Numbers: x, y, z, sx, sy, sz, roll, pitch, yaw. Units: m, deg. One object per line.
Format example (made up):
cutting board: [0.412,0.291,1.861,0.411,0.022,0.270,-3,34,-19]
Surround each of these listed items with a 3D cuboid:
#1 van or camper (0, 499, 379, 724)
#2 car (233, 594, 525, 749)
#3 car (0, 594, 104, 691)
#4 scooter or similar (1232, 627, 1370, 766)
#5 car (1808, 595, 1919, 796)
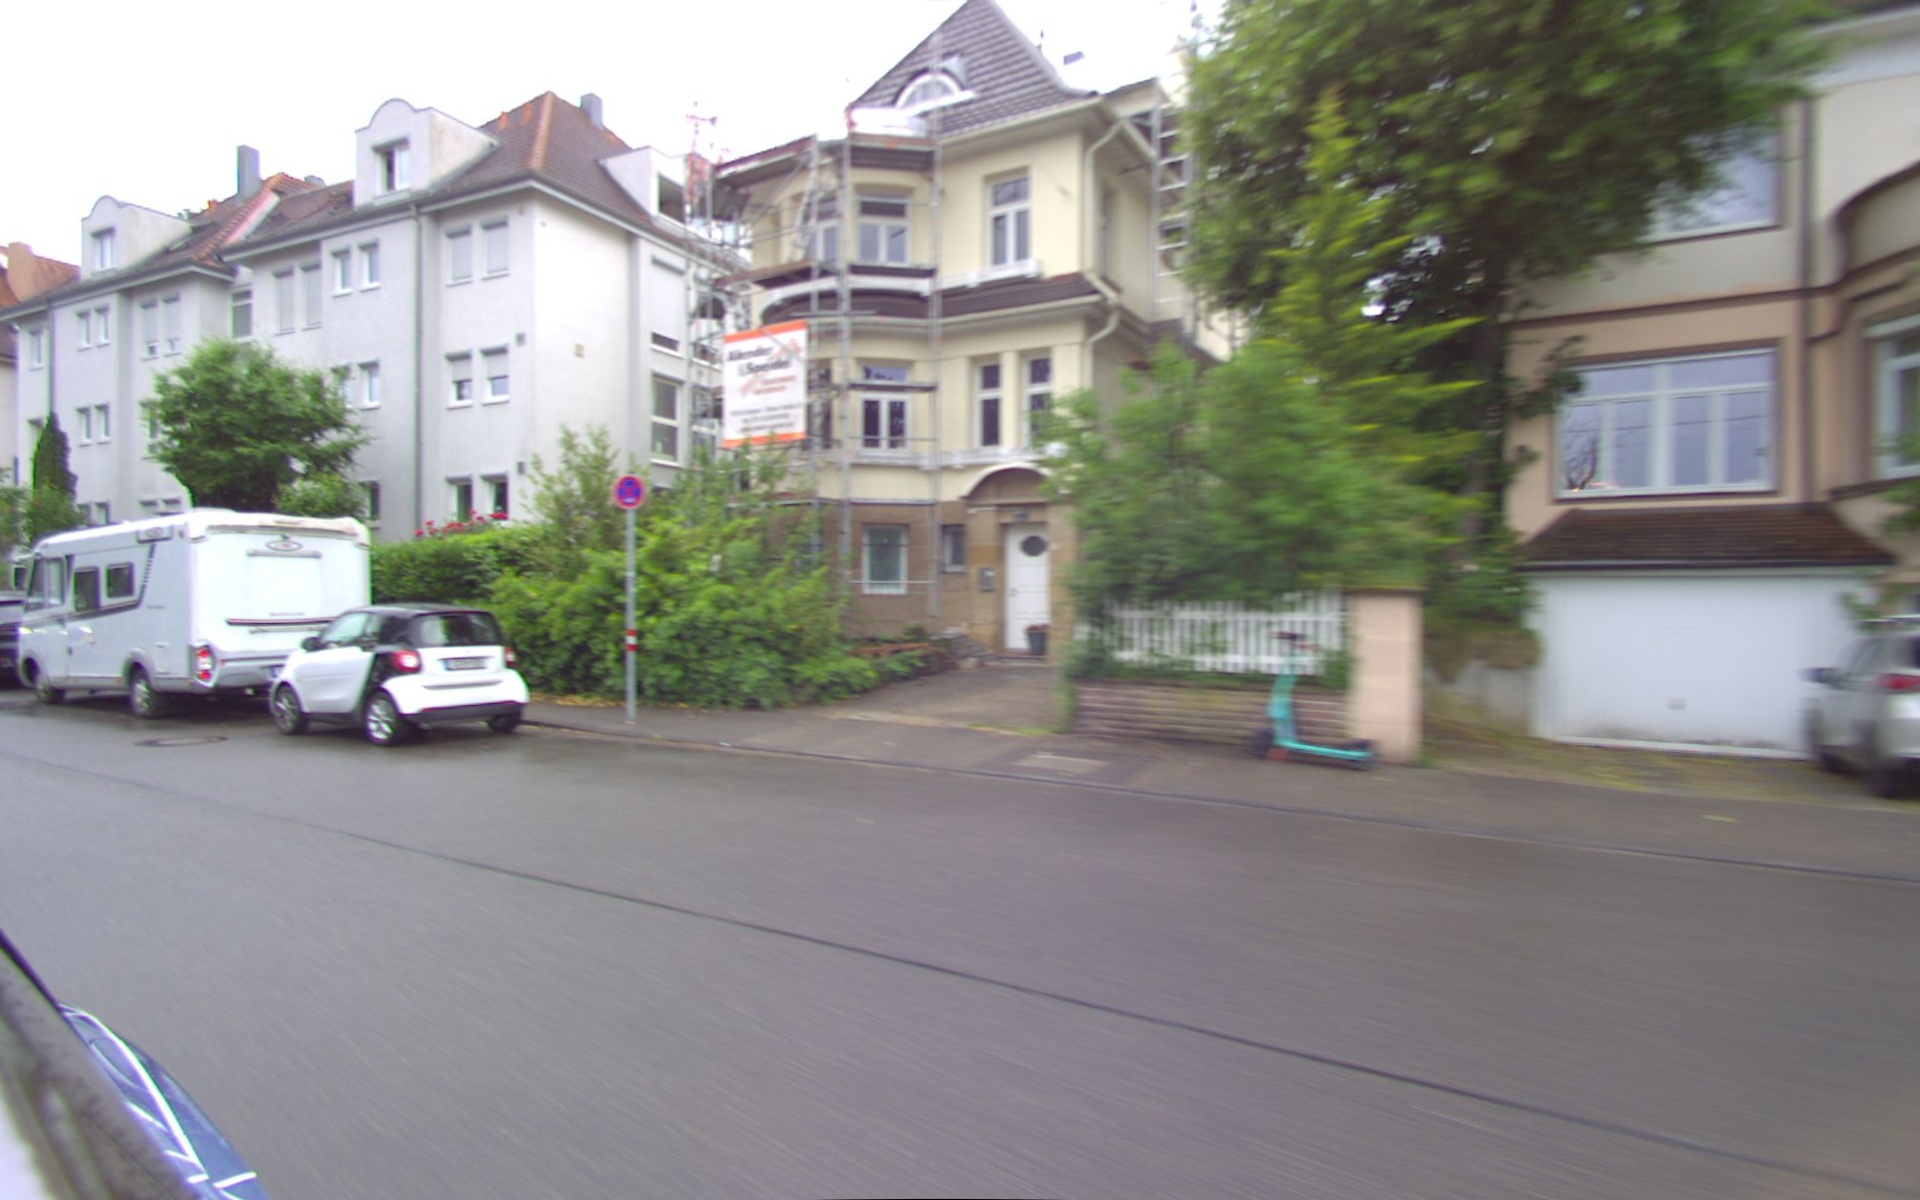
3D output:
van or camper: [-11.478,0.133,14.834,6.089,2.745,2.333,0,0,29]
car: [-6.925,0.741,12.031,3.304,1.607,1.584,0,0,30]
car: [-17.567,0.698,18.231,4.727,1.607,1.819,0,0,30]
scooter or similar: [3.159,0.861,9.404,1.139,1.197,0.398,0,1,37]
car: [8.930,0.749,8.968,1.705,1.553,3.551,-3,-3,34]
